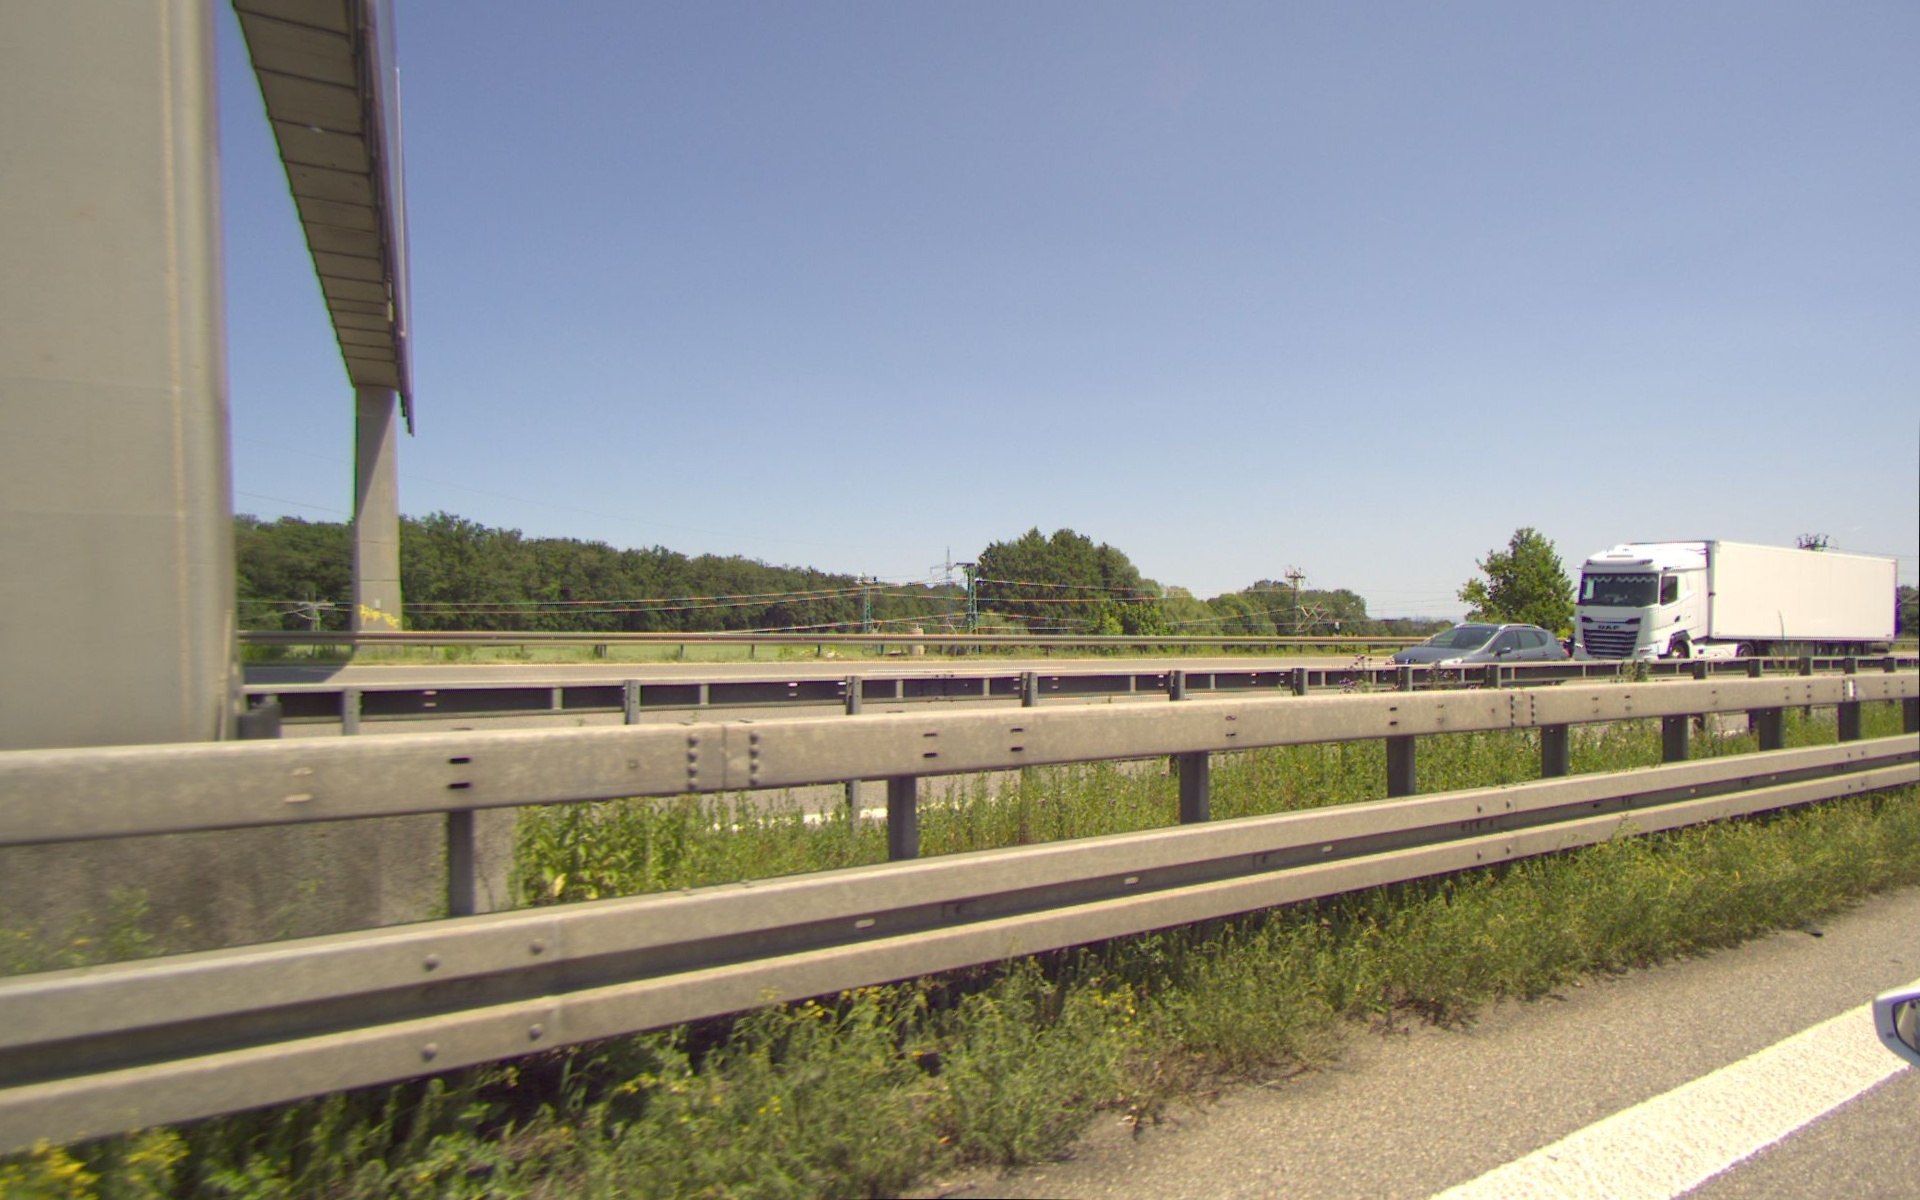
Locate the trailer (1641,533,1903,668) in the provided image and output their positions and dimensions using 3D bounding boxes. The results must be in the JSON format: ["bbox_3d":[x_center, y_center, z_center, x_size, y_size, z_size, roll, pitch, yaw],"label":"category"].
[{"bbox_3d":[29.043,0.201,35.711,11.270,4.248,3.209,2,-1,-29],"label":"trailer"}]

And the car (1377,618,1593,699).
[{"bbox_3d":[11.345,1.207,21.592,5.043,1.529,1.734,1,-1,-31],"label":"car"}]

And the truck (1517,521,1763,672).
[{"bbox_3d":[21.475,-0.011,31.639,7.596,4.265,3.235,1,0,-28],"label":"truck"}]

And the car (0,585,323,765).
[{"bbox_3d":[-8.595,0.670,9.775,3.954,1.582,1.734,1,-1,-31],"label":"car"}]
